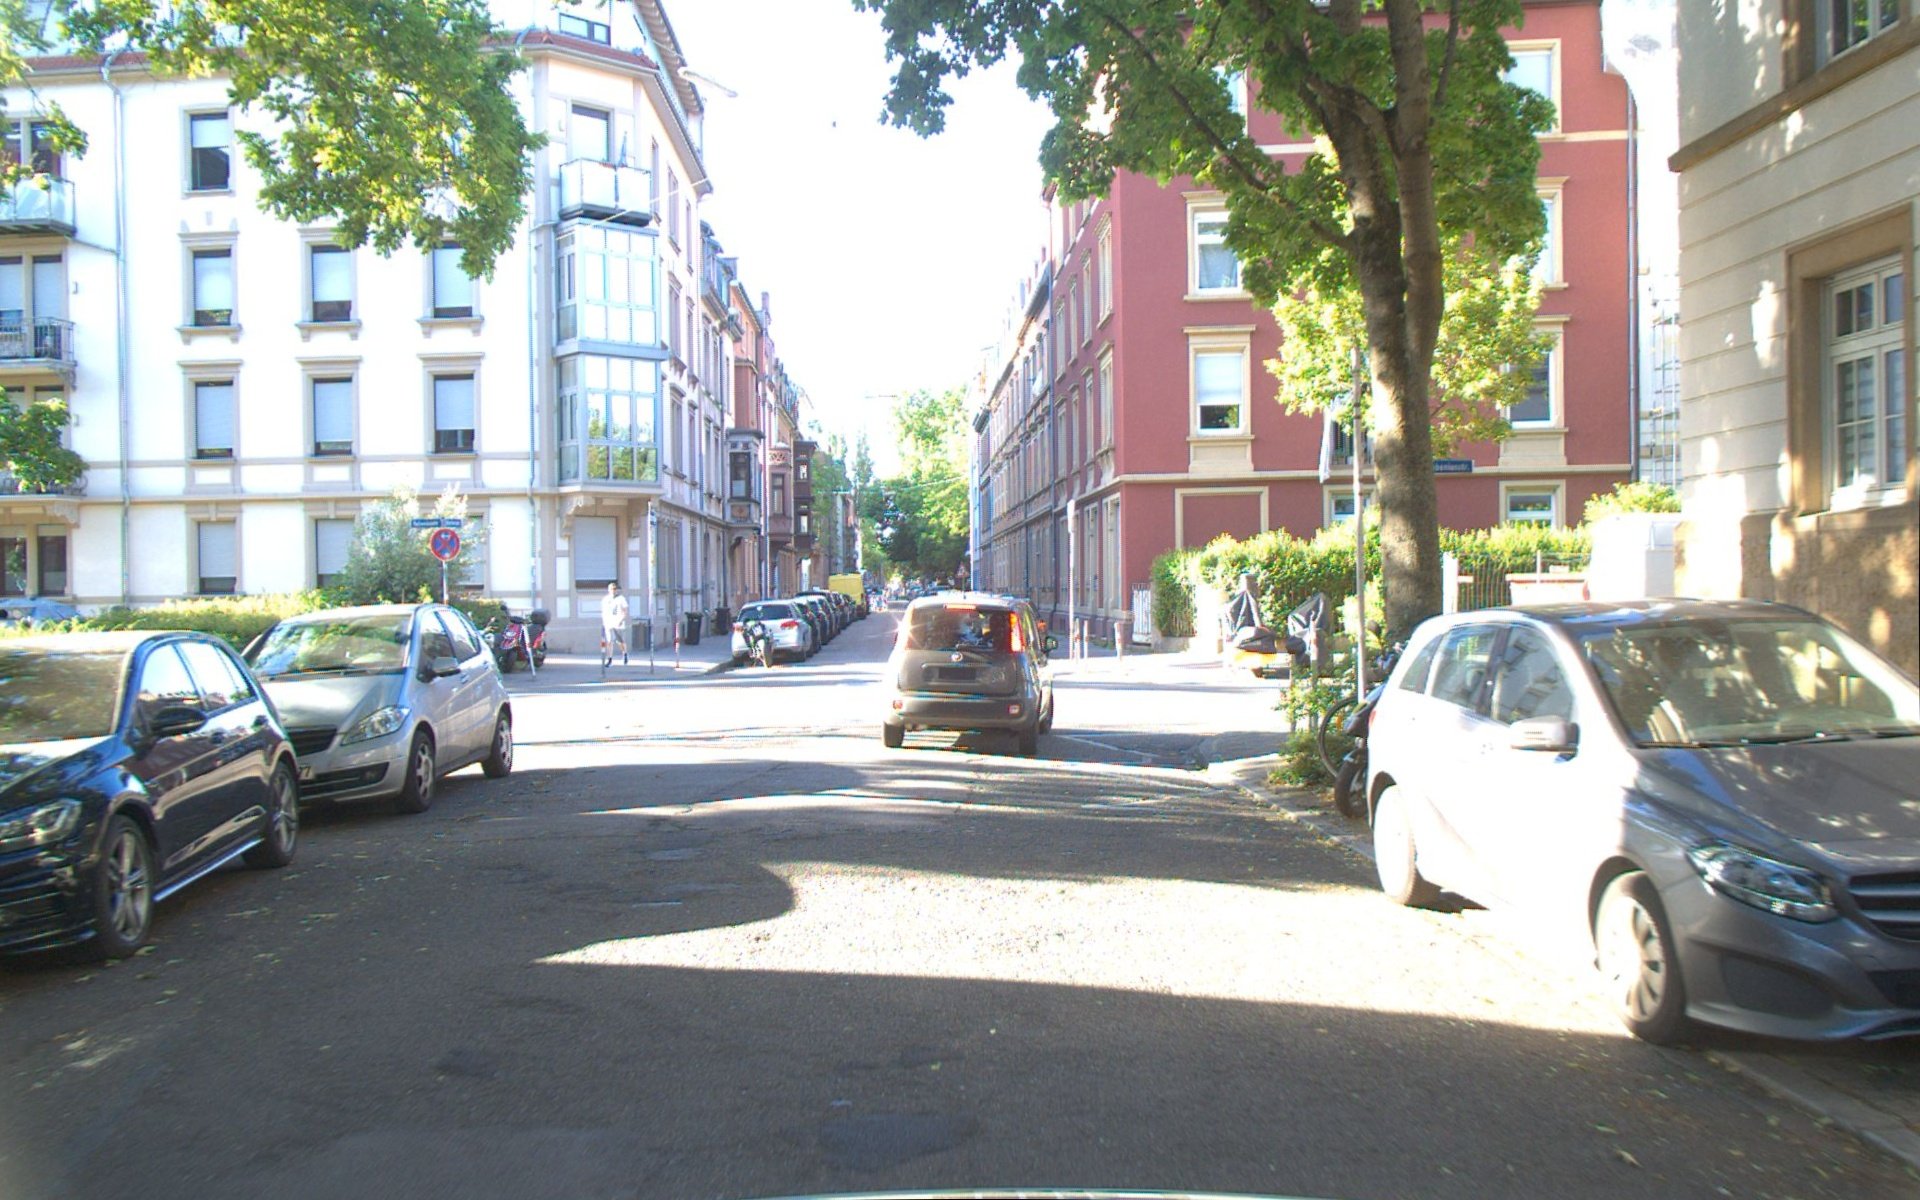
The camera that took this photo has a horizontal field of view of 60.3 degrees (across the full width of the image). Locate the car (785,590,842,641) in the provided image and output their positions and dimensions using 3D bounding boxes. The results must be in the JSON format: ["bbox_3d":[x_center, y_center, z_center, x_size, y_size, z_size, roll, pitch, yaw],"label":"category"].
[{"bbox_3d":[-5.425,0.541,61.809,1.739,1.728,3.924,-4,0,-1],"label":"car"}]

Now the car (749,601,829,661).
[{"bbox_3d":[-4.641,0.819,45.356,1.741,1.437,3.924,-4,0,-1],"label":"car"}]

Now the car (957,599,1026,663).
[{"bbox_3d":[0.774,0.756,42.515,1.629,1.531,3.756,0,0,-1],"label":"car"}]

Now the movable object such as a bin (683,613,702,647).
[{"bbox_3d":[-7.760,0.864,48.038,0.501,0.969,0.500,-1,0,-5],"label":"movable object such as a bin"}]

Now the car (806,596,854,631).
[{"bbox_3d":[-6.154,0.626,78.730,1.922,1.504,3.924,-4,0,-1],"label":"car"}]

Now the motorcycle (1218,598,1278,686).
[{"bbox_3d":[5.168,0.725,29.660,0.998,1.428,2.194,-1,2,10],"label":"motorcycle"}]

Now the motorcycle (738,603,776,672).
[{"bbox_3d":[-4.546,0.819,36.973,0.684,1.486,1.746,-2,0,-11],"label":"motorcycle"}]

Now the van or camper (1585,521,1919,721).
[{"bbox_3d":[11.337,0.226,21.772,5.469,2.487,2.147,-1,2,7],"label":"van or camper"}]

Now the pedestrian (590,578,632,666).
[{"bbox_3d":[-7.530,0.462,35.699,0.707,1.871,0.627,0,0,9],"label":"pedestrian"}]

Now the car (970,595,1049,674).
[{"bbox_3d":[1.090,0.755,38.032,1.629,1.698,3.756,0,0,-1],"label":"car"}]

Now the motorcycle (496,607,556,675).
[{"bbox_3d":[-8.808,0.821,33.644,0.507,1.316,1.613,1,1,12],"label":"motorcycle"}]

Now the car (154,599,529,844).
[{"bbox_3d":[-4.836,0.844,13.547,1.663,1.577,3.917,-4,0,-3],"label":"car"}]

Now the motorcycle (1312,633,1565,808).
[{"bbox_3d":[3.677,0.933,12.820,1.811,1.288,0.505,-2,0,12],"label":"motorcycle"}]

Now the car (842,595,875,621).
[{"bbox_3d":[-6.627,0.525,108.098,1.922,1.504,3.924,-4,0,-1],"label":"car"}]

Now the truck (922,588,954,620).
[{"bbox_3d":[-1.453,0.233,106.738,1.953,2.027,3.998,-1,0,-2],"label":"truck"}]

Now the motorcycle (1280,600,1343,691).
[{"bbox_3d":[6.154,0.770,29.049,0.809,1.429,2.558,-1,2,6],"label":"motorcycle"}]

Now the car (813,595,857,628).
[{"bbox_3d":[-6.455,0.577,85.731,1.922,1.504,3.924,-4,0,-1],"label":"car"}]

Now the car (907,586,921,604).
[{"bbox_3d":[-4.431,-0.492,160.511,1.340,1.646,3.413,-1,0,-1],"label":"car"}]

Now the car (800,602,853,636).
[{"bbox_3d":[-5.711,0.788,71.091,1.922,1.245,3.924,-4,0,-1],"label":"car"}]

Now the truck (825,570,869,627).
[{"bbox_3d":[-6.307,-0.095,92.840,2.029,2.976,5.066,-4,0,-1],"label":"truck"}]

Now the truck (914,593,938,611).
[{"bbox_3d":[-2.926,0.125,140.887,1.953,1.482,3.998,-1,0,-2],"label":"truck"}]

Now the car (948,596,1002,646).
[{"bbox_3d":[0.457,0.641,53.509,1.629,1.531,3.756,0,0,-1],"label":"car"}]

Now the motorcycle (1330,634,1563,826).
[{"bbox_3d":[3.513,0.923,12.003,1.473,1.288,0.619,-2,0,-3],"label":"motorcycle"}]

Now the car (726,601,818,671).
[{"bbox_3d":[-4.522,0.829,40.272,1.761,1.456,3.924,-4,0,-1],"label":"car"}]

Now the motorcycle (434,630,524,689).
[{"bbox_3d":[-9.079,1.106,31.280,0.675,1.002,1.822,3,2,18],"label":"motorcycle"}]

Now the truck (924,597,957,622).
[{"bbox_3d":[-1.221,0.581,101.364,1.953,1.482,3.998,-1,0,-2],"label":"truck"}]

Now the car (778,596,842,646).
[{"bbox_3d":[-5.105,0.688,56.662,1.792,1.504,3.924,-4,0,-1],"label":"car"}]

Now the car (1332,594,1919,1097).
[{"bbox_3d":[3.215,0.770,7.482,1.754,1.578,4.405,0,0,-5],"label":"car"}]

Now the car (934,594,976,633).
[{"bbox_3d":[-0.215,0.522,67.164,1.629,1.531,3.756,0,0,-1],"label":"car"}]

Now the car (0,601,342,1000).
[{"bbox_3d":[-4.643,0.832,8.451,1.714,1.500,4.456,-5,1,-8],"label":"car"}]

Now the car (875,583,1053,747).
[{"bbox_3d":[0.130,0.615,17.611,1.598,1.577,3.266,0,0,5],"label":"car"}]

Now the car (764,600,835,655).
[{"bbox_3d":[-4.966,0.812,51.563,1.788,1.492,3.924,-4,0,-1],"label":"car"}]
